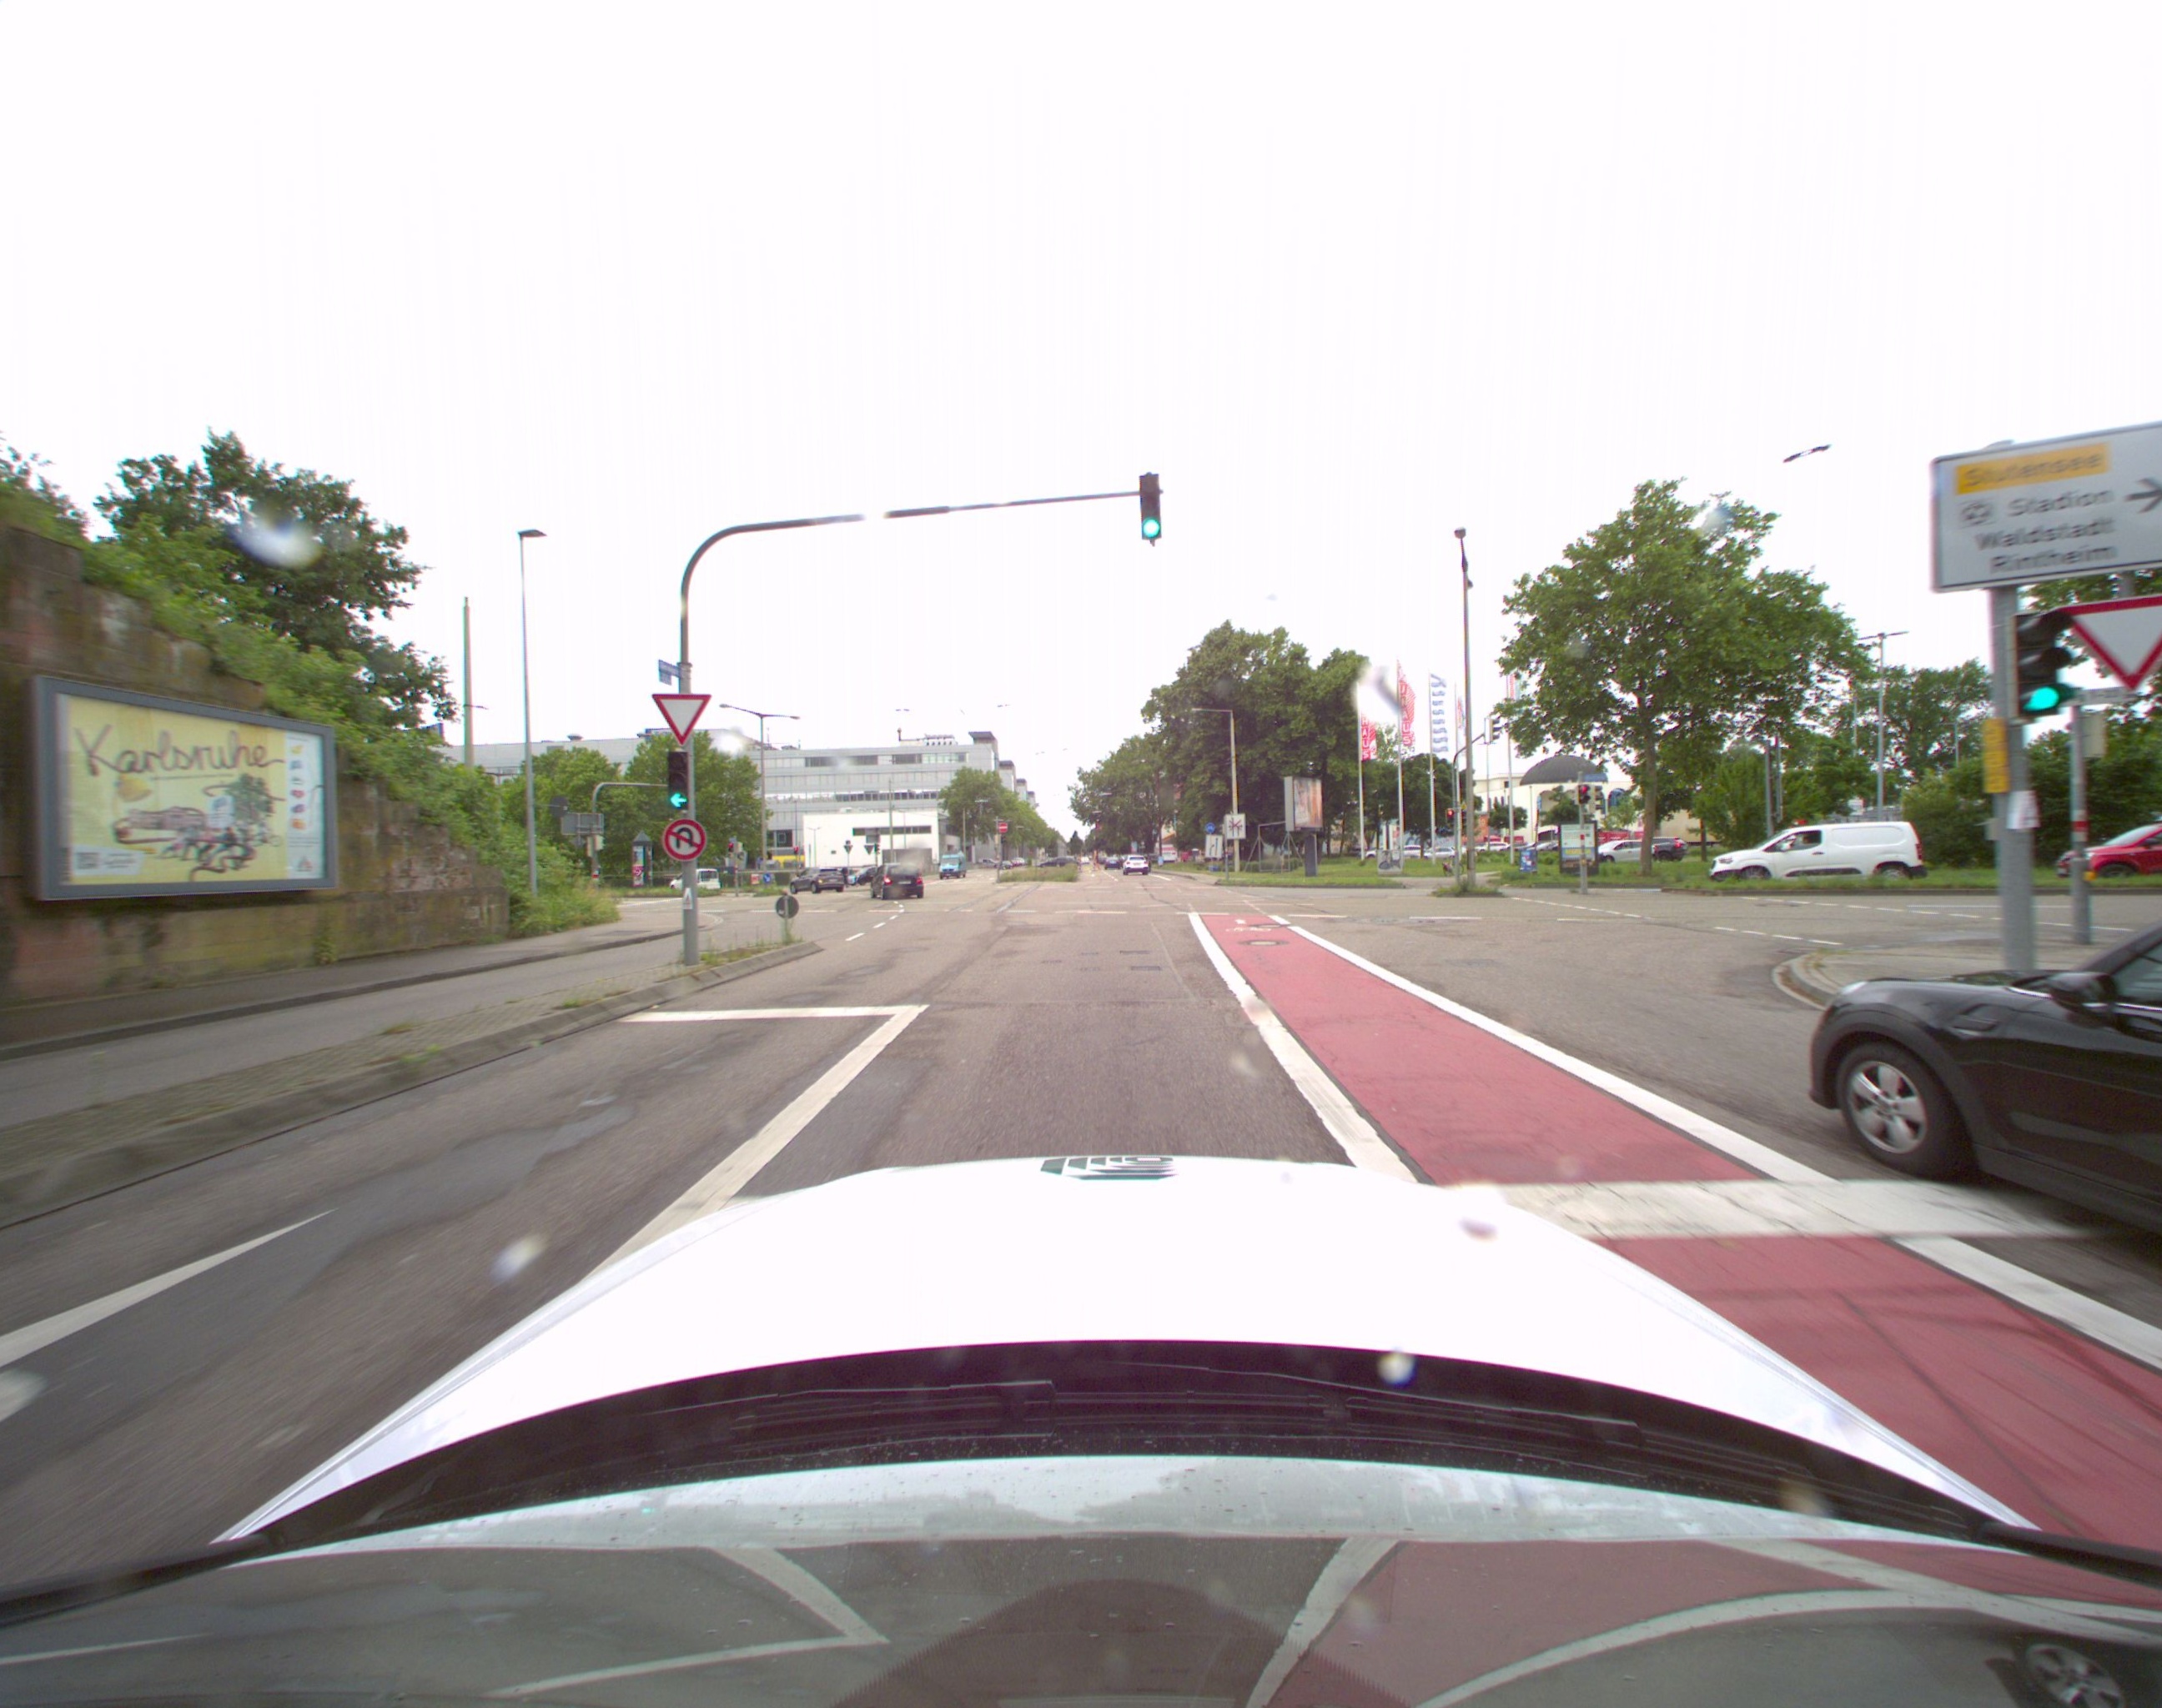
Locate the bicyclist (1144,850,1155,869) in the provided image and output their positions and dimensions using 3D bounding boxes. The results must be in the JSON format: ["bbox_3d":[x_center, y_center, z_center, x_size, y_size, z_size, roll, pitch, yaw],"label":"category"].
[{"bbox_3d":[6.185,0.481,73.913,0.814,1.630,1.235,-2,-1,0],"label":"bicyclist"}]

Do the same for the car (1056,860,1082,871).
[{"bbox_3d":[-1.802,1.743,120.874,3.871,1.556,1.824,0,-1,-1],"label":"car"}]

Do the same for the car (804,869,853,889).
[{"bbox_3d":[-21.905,2.152,70.770,3.628,1.528,1.783,-2,-1,18],"label":"car"}]

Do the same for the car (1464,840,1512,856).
[{"bbox_3d":[47.392,-0.660,94.800,4.546,1.677,2.151,-2,0,-6],"label":"car"}]

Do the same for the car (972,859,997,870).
[{"bbox_3d":[-17.924,1.986,151.553,4.401,1.783,1.824,-2,-1,-3],"label":"car"}]

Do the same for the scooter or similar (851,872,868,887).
[{"bbox_3d":[-17.182,1.982,63.283,0.641,1.062,1.455,0,0,13],"label":"scooter or similar"}]

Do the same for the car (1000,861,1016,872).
[{"bbox_3d":[-11.204,1.892,124.838,1.812,1.475,4.131,-3,-2,2],"label":"car"}]

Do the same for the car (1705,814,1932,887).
[{"bbox_3d":[20.229,-0.030,22.641,4.364,1.829,1.892,-2,-2,33],"label":"car"}]

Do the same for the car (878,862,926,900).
[{"bbox_3d":[-7.896,1.137,35.707,1.773,1.528,3.648,-1,0,-17],"label":"car"}]

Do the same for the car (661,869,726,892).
[{"bbox_3d":[-27.953,1.896,58.678,4.945,1.528,1.981,-1,0,34],"label":"car"}]

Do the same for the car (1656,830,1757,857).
[{"bbox_3d":[38.056,-0.599,49.671,1.941,1.497,4.560,1,-1,-39],"label":"car"}]

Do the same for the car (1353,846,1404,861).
[{"bbox_3d":[30.762,-0.075,84.324,4.523,1.497,1.956,0,-1,-5],"label":"car"}]

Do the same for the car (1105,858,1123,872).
[{"bbox_3d":[3.671,1.269,92.209,1.680,1.513,3.701,-1,0,-3],"label":"car"}]

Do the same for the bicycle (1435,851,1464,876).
[{"bbox_3d":[18.108,0.465,39.958,1.816,1.118,0.483,-2,-1,-38],"label":"bicycle"}]

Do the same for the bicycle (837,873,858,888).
[{"bbox_3d":[-17.600,1.959,61.443,0.641,1.062,2.008,0,0,13],"label":"bicycle"}]

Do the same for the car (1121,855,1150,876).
[{"bbox_3d":[4.220,0.870,63.659,1.819,1.600,3.771,-1,0,-3],"label":"car"}]

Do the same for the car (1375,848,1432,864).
[{"bbox_3d":[31.075,0.167,78.521,4.662,1.497,2.169,0,-1,-2],"label":"car"}]

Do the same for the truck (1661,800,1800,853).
[{"bbox_3d":[48.115,-1.908,60.836,2.930,3.564,9.246,0,-1,0],"label":"truck"}]

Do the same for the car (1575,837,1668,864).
[{"bbox_3d":[31.159,-0.193,47.005,4.213,1.497,1.928,0,-1,-4],"label":"car"}]

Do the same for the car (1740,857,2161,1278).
[{"bbox_3d":[4.537,0.731,2.754,1.672,1.431,3.776,-1,0,2],"label":"car"}]

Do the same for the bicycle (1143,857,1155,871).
[{"bbox_3d":[6.206,0.942,73.911,0.814,1.212,2.682,-2,0,0],"label":"bicycle"}]

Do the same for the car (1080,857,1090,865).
[{"bbox_3d":[0.849,1.378,162.991,1.791,1.513,3.701,-1,0,-3],"label":"car"}]

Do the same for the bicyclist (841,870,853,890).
[{"bbox_3d":[-17.615,1.958,61.370,0.641,1.518,0.629,0,0,13],"label":"bicyclist"}]

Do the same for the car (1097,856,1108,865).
[{"bbox_3d":[3.975,1.146,150.303,1.872,1.632,3.997,-2,0,-2],"label":"car"}]

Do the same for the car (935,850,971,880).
[{"bbox_3d":[-12.899,1.112,82.541,2.319,2.826,5.953,-2,-1,3],"label":"car"}]

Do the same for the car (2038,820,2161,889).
[{"bbox_3d":[25.357,-0.022,18.937,3.640,1.531,1.707,-2,0,34],"label":"car"}]

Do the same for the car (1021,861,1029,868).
[{"bbox_3d":[-13.702,2.481,199.308,1.872,1.632,4.203,-2,0,-2],"label":"car"}]

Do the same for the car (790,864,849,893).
[{"bbox_3d":[-15.631,1.436,48.530,3.623,1.652,1.789,-1,0,43],"label":"car"}]

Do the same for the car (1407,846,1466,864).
[{"bbox_3d":[31.400,0.083,71.922,4.436,1.497,1.928,0,-1,-5],"label":"car"}]
